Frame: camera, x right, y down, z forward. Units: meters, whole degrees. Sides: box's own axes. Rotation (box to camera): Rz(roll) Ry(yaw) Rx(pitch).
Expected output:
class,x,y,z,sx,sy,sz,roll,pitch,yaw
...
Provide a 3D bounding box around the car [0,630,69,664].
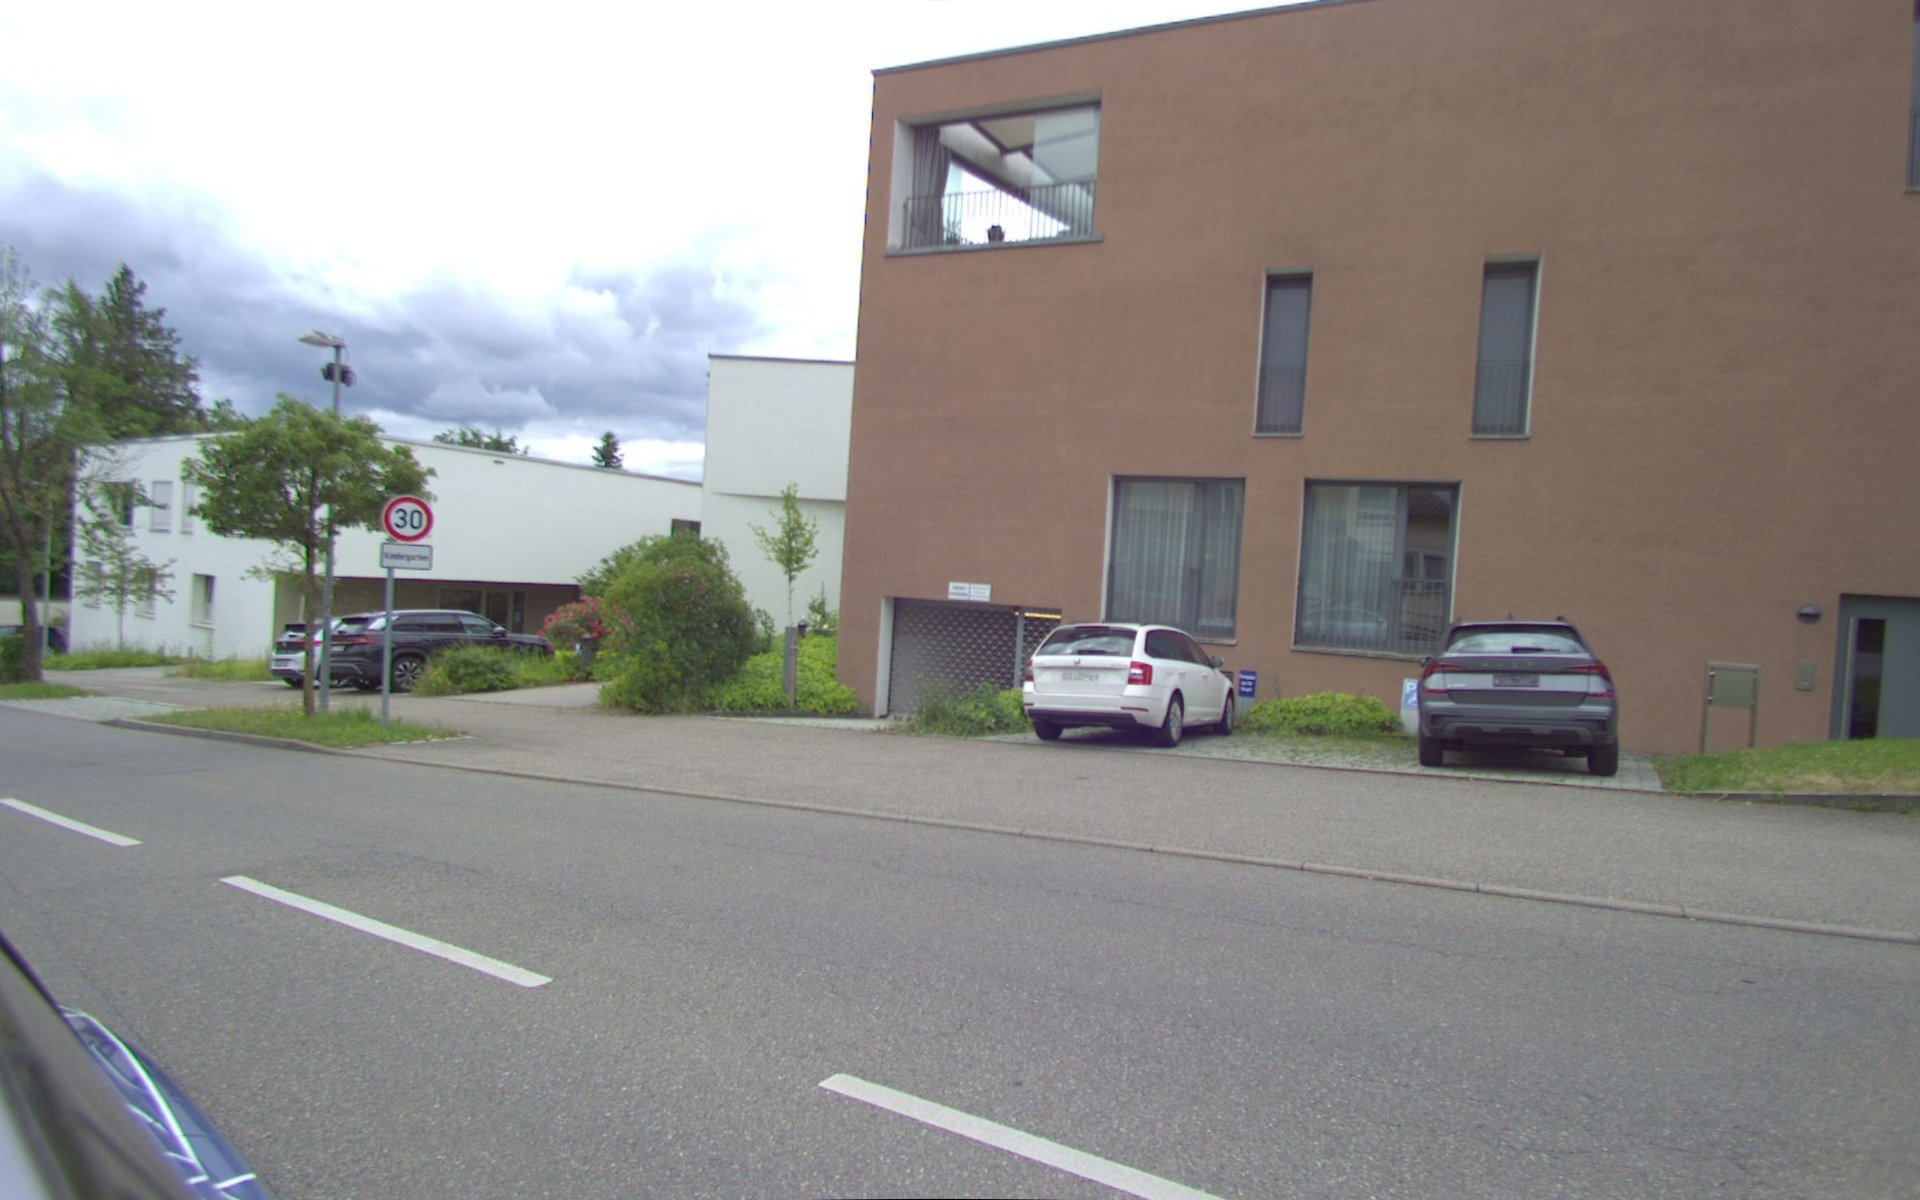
class,x,y,z,sx,sy,sz,roll,pitch,yaw
car,-39.374,1.926,41.681,1.739,1.364,3.758,-1,-2,38

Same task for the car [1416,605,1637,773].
class,x,y,z,sx,sy,sz,roll,pitch,yaw
car,5.997,0.880,10.956,1.723,1.475,3.737,-2,-3,27

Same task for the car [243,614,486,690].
class,x,y,z,sx,sy,sz,roll,pitch,yaw
car,-13.532,1.160,23.264,2.059,1.578,4.353,-1,-2,32

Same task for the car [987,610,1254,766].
class,x,y,z,sx,sy,sz,roll,pitch,yaw
car,2.252,1.019,13.087,2.006,1.635,4.229,0,-2,30

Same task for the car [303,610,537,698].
class,x,y,z,sx,sy,sz,roll,pitch,yaw
car,-11.360,1.066,21.527,2.003,1.666,3.954,-1,-1,34
